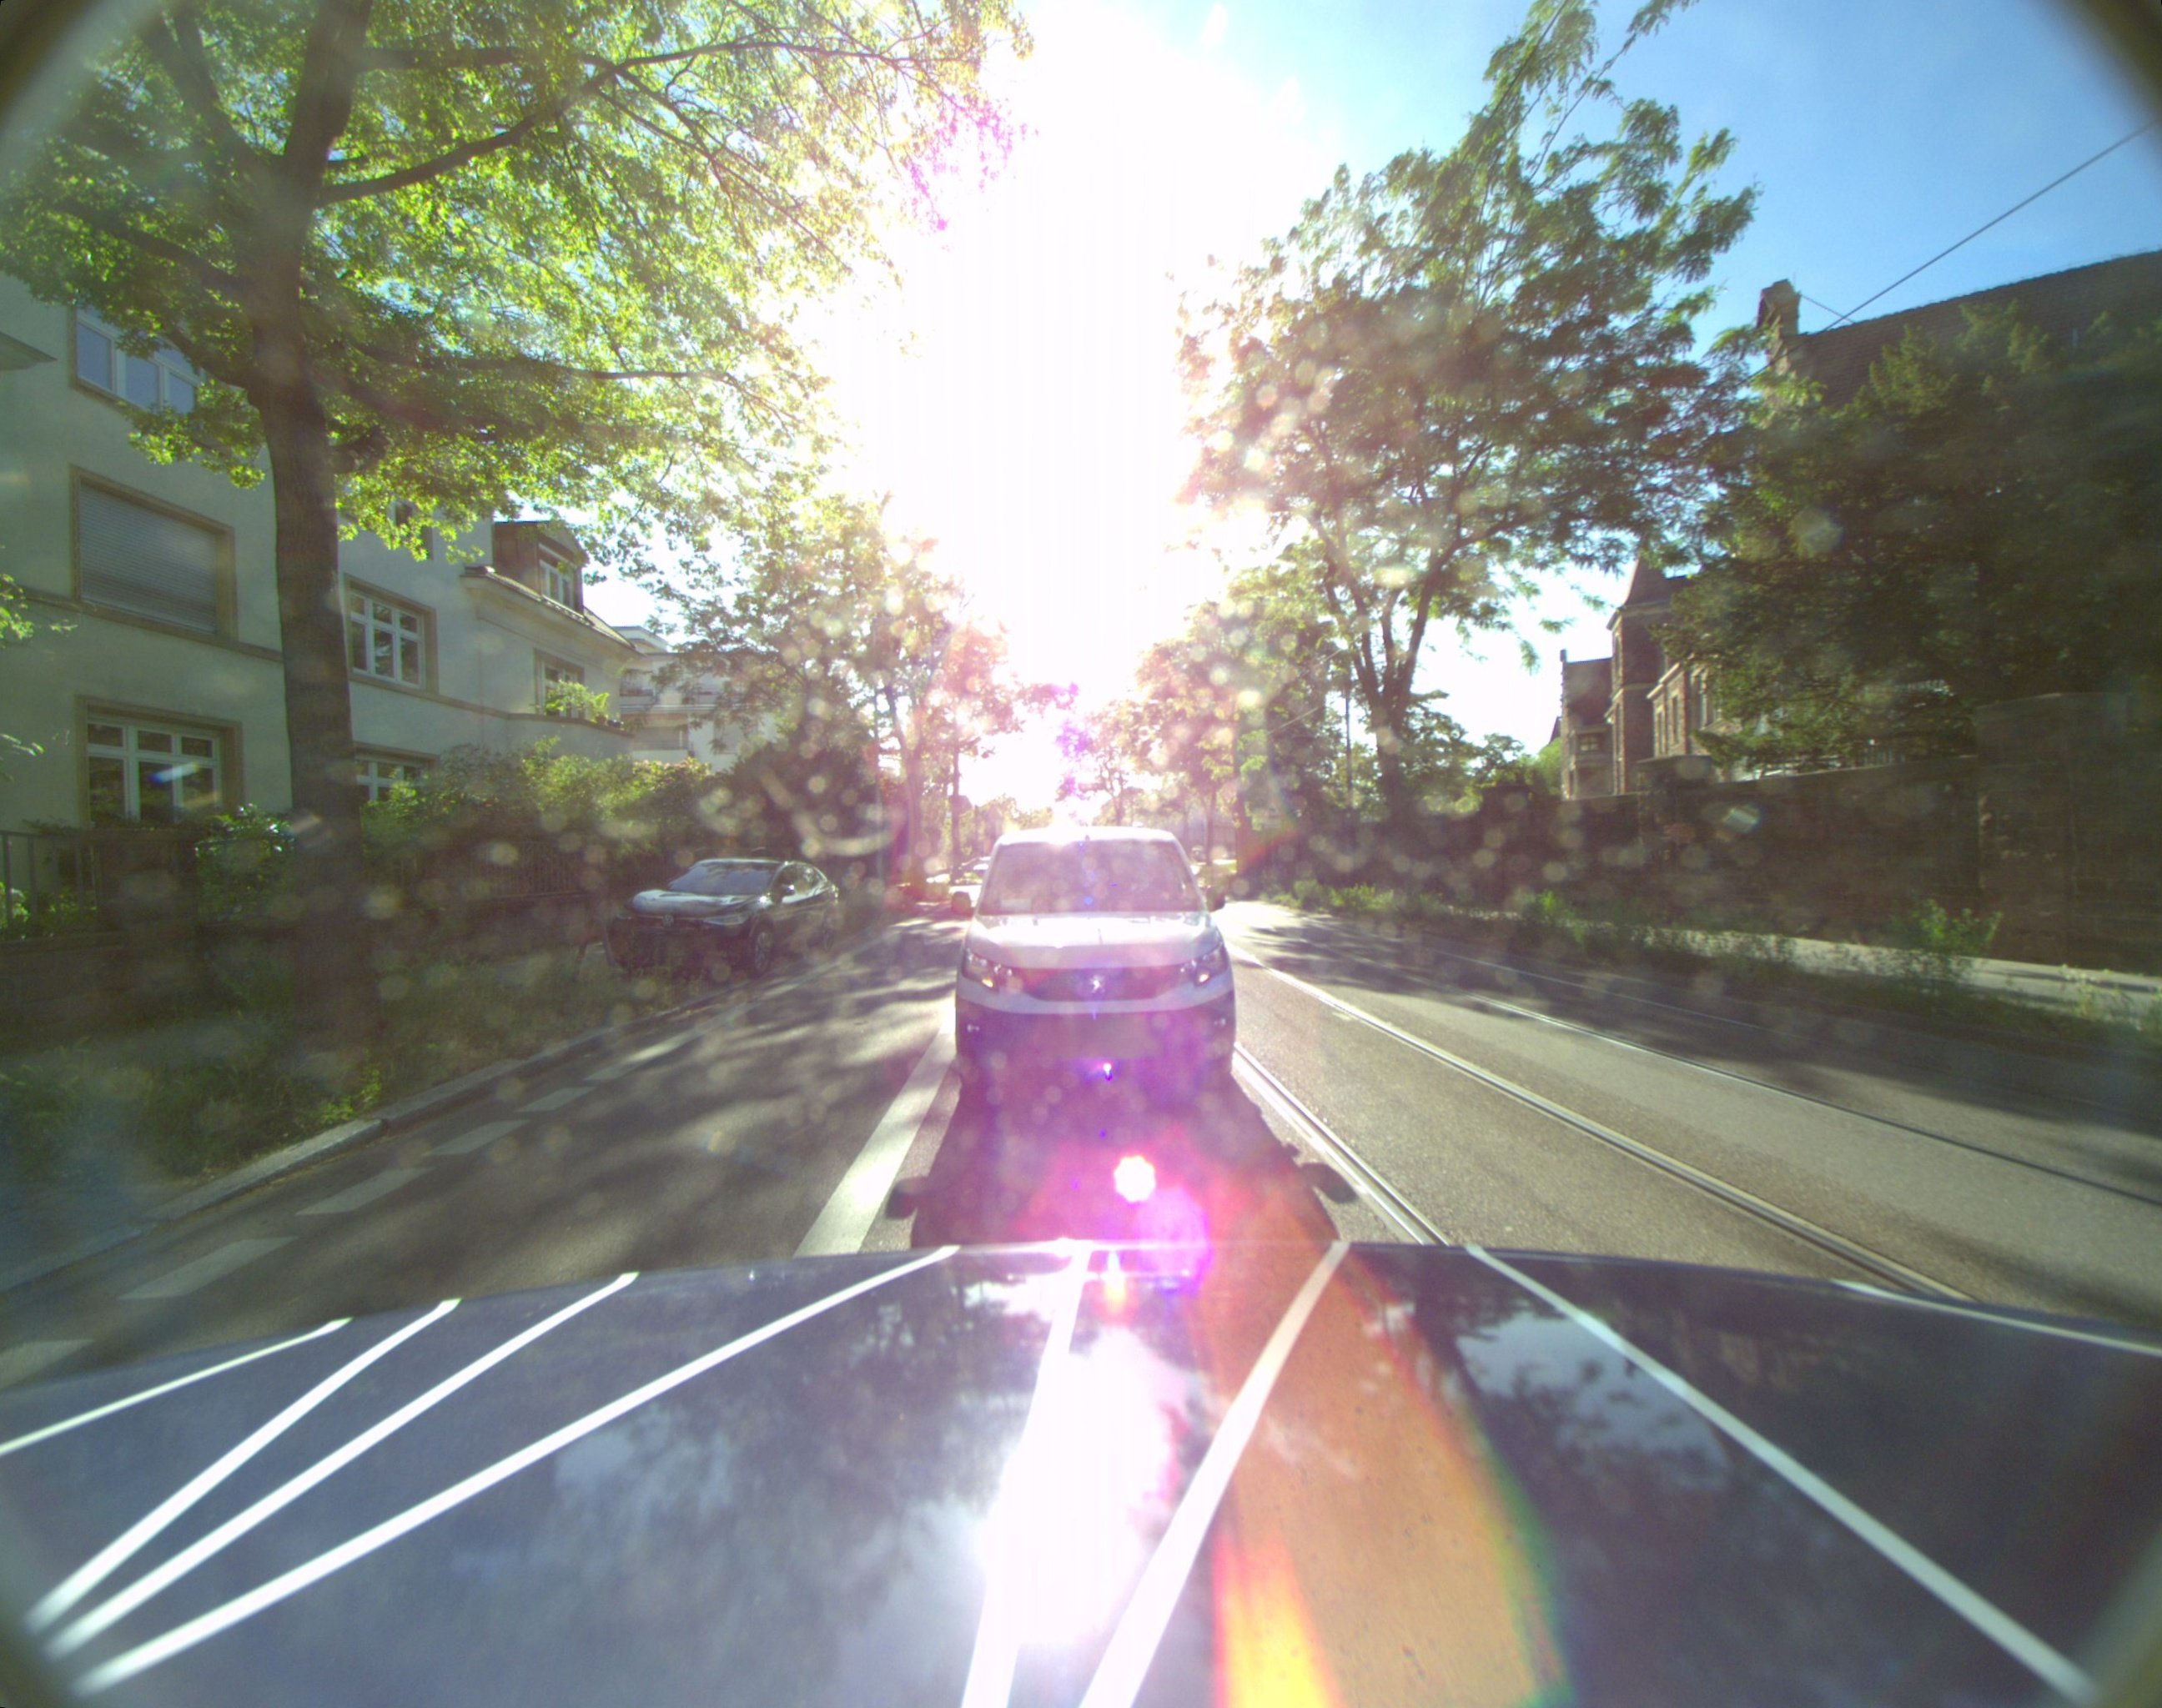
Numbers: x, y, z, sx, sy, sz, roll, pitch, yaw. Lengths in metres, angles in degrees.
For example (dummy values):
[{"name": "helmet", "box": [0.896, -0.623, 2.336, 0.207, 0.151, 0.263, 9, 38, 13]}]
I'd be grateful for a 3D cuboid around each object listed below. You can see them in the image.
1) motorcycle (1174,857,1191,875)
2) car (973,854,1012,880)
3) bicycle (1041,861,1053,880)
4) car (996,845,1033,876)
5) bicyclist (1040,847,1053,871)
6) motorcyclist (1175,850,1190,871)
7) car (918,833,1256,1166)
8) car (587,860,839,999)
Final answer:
[{"name": "motorcycle", "box": [6.947, 0.799, 51.957, 0.913, 1.146, 2.429, -2, 0, 3]}, {"name": "car", "box": [-5.245, 0.756, 45.460, 1.787, 1.443, 4.000, -2, 0, 1]}, {"name": "bicycle", "box": [-2.139, 1.036, 47.700, 0.644, 1.137, 1.902, -1, 0, 1]}, {"name": "car", "box": [-4.492, 0.435, 51.925, 1.998, 2.002, 4.583, -2, 0, 1]}, {"name": "bicyclist", "box": [-2.166, 0.298, 47.696, 0.645, 1.479, 1.115, -2, 1, 1]}, {"name": "motorcyclist", "box": [6.946, 0.429, 51.961, 0.891, 1.375, 0.908, -2, 1, 2]}, {"name": "car", "box": [0.051, 0.788, 6.531, 1.793, 1.770, 4.786, -2, 0, 0]}, {"name": "car", "box": [-5.179, 0.947, 11.380, 1.743, 1.597, 4.091, 2, 0, 0]}]
